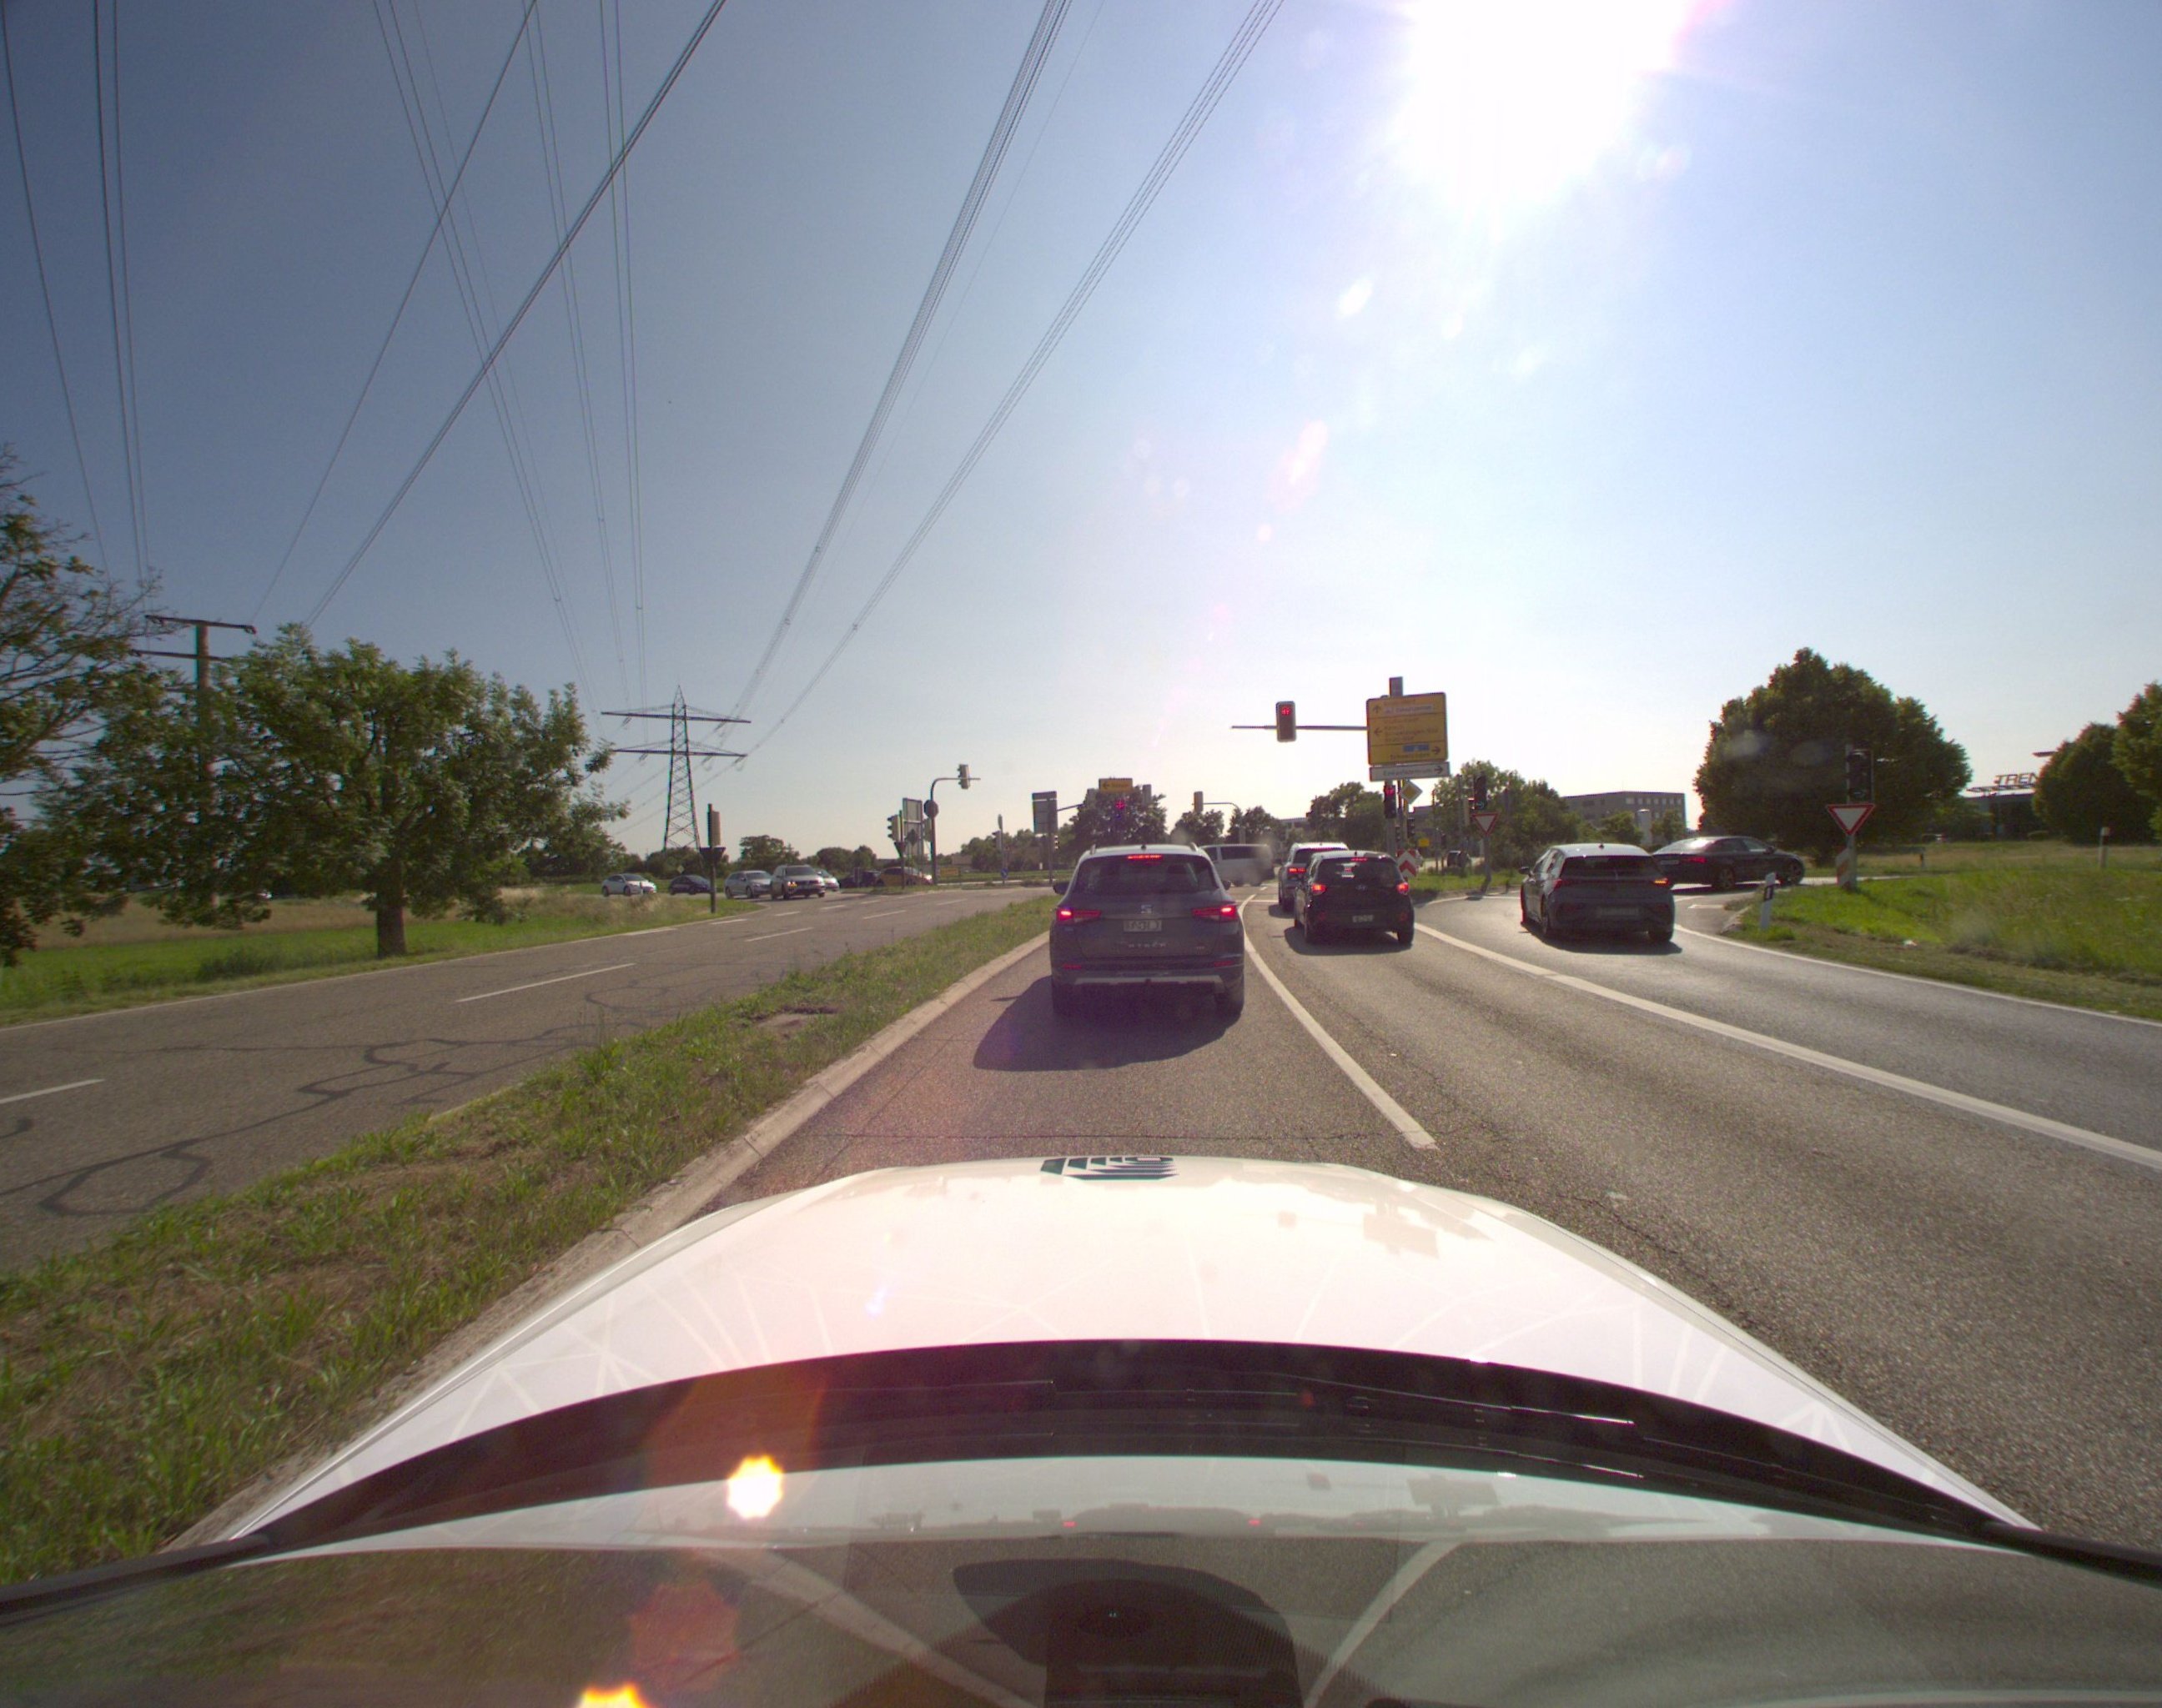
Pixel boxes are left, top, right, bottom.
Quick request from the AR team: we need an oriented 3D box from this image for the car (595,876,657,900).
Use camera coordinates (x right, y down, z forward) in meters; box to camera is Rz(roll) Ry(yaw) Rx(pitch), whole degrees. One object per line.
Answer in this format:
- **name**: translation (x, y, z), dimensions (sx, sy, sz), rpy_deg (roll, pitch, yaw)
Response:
- **car**: translation (-32.858, 2.469, 58.797), dimensions (4.699, 1.651, 1.832), rpy_deg (-2, -1, 31)

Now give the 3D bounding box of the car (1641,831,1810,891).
- **car**: translation (17.187, 0.160, 21.737), dimensions (3.999, 1.385, 1.636), rpy_deg (-2, 0, -19)

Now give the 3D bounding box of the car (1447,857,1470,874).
- **car**: translation (38.371, 1.169, 82.677), dimensions (1.859, 1.673, 3.793), rpy_deg (0, 0, 29)

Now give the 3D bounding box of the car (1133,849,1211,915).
- **car**: translation (2.339, 0.645, 20.226), dimensions (1.732, 1.484, 3.633), rpy_deg (0, 0, 9)

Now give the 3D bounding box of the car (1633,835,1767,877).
- **car**: translation (23.611, 0.094, 31.247), dimensions (3.862, 1.465, 1.734), rpy_deg (-2, -1, 30)

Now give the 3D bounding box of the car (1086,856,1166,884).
- **car**: translation (2.637, 0.945, 48.124), dimensions (4.280, 1.519, 1.819), rpy_deg (-2, -1, 29)

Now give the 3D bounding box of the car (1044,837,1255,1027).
- **car**: translation (0.685, 0.667, 8.685), dimensions (1.734, 1.569, 3.627), rpy_deg (-2, 0, 3)

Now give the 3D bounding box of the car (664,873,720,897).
- **car**: translation (-28.817, 2.317, 60.358), dimensions (3.948, 1.651, 1.832), rpy_deg (-2, -1, 31)

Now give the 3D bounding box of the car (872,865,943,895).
- **car**: translation (-10.513, 1.575, 49.256), dimensions (3.948, 1.651, 1.832), rpy_deg (-2, -1, 31)

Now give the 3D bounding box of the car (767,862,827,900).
- **car**: translation (-13.476, 1.270, 38.565), dimensions (1.827, 1.651, 3.959), rpy_deg (-1, -1, -32)

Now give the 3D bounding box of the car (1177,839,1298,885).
- **car**: translation (6.953, 0.335, 36.270), dimensions (4.940, 1.918, 1.990), rpy_deg (-1, 0, -15)

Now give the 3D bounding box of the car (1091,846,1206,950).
- **car**: translation (1.163, 0.680, 14.124), dimensions (1.734, 1.569, 3.628), rpy_deg (0, 0, 4)

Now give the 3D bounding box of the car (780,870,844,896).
- **car**: translation (-17.862, 1.929, 54.034), dimensions (3.948, 1.651, 1.832), rpy_deg (-2, -1, 31)

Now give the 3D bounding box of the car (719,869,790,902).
- **car**: translation (-17.509, 1.687, 43.607), dimensions (3.948, 1.651, 1.832), rpy_deg (-2, -1, 40)

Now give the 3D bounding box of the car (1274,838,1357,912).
- **car**: translation (5.783, 0.488, 20.412), dimensions (1.622, 1.677, 3.760), rpy_deg (-1, 0, 10)

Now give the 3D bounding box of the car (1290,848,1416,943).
- **car**: translation (4.609, 0.637, 14.186), dimensions (1.622, 1.448, 3.304), rpy_deg (-1, 0, 10)

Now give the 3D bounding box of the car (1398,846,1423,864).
- **car**: translation (34.351, 0.125, 84.891), dimensions (1.699, 1.819, 3.801), rpy_deg (0, 0, 32)

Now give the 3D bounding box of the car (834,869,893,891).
- **car**: translation (-15.836, 1.902, 59.312), dimensions (4.051, 1.416, 1.727), rpy_deg (-2, -1, 30)

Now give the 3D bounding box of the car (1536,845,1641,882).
- **car**: translation (22.429, 0.435, 36.161), dimensions (3.831, 1.519, 1.819), rpy_deg (-2, -1, 29)

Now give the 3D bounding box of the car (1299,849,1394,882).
- **car**: translation (13.465, 0.570, 41.350), dimensions (4.280, 1.519, 1.819), rpy_deg (-2, -1, 29)

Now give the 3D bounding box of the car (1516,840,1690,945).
- **car**: translation (8.838, 0.544, 14.158), dimensions (1.757, 1.517, 4.121), rpy_deg (-1, 1, 21)
